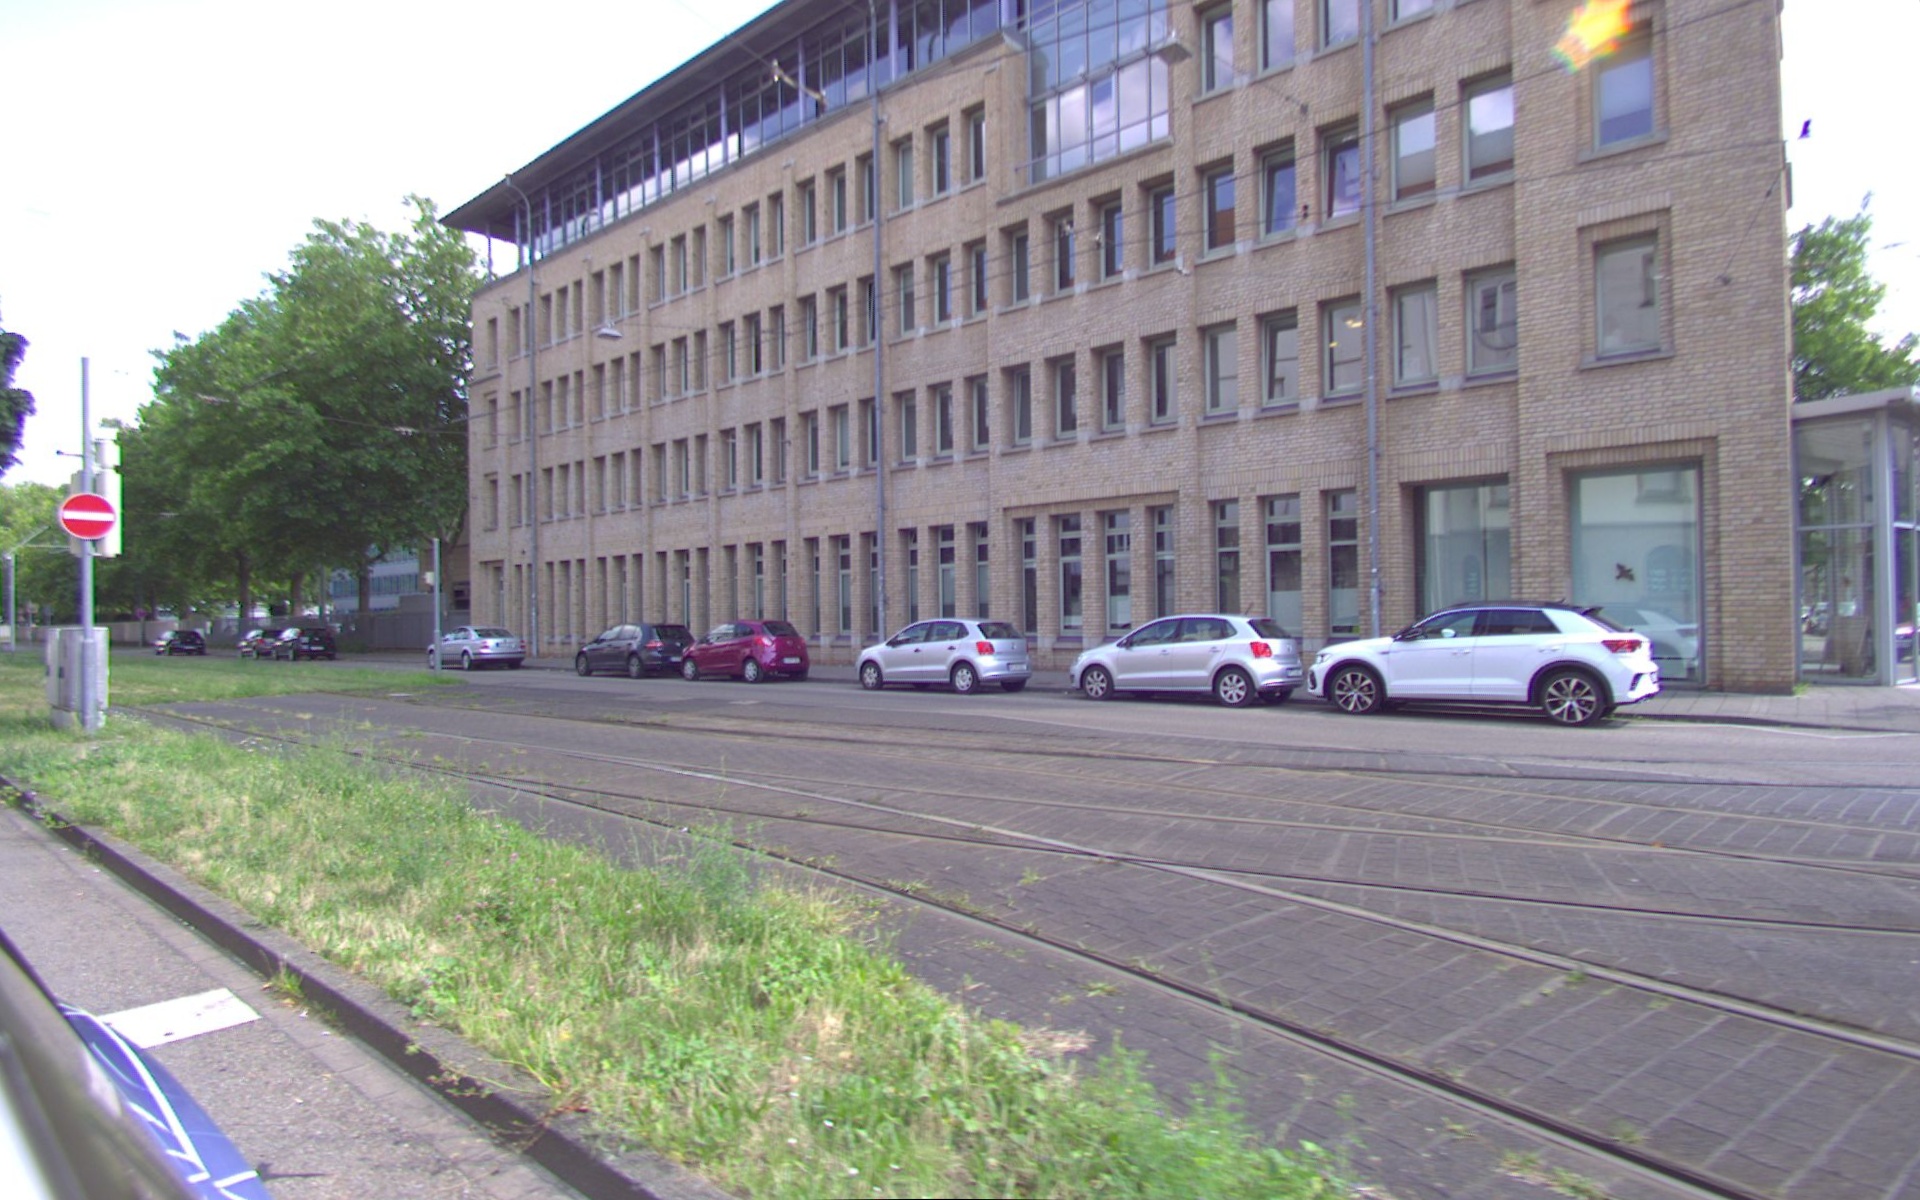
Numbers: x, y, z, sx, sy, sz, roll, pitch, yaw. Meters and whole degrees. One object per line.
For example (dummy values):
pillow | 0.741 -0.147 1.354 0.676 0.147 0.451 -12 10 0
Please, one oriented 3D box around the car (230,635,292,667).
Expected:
car | -33.662 2.432 48.701 3.899 1.437 1.538 -2 -2 41

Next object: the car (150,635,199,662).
car | -45.731 2.815 58.903 3.999 1.475 1.580 -2 -2 42

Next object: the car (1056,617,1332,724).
car | 3.773 1.083 16.686 4.013 1.542 1.912 -2 -2 42

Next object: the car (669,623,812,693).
car | -5.312 1.340 24.297 3.548 1.542 1.566 -2 -2 42

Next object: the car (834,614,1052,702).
car | -0.416 1.095 20.039 4.209 1.542 1.831 -2 -2 42

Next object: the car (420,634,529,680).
car | -16.149 1.856 33.572 4.483 1.407 1.697 -2 -2 42

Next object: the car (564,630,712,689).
car | -8.678 1.548 27.092 4.238 1.407 1.912 -2 -2 42

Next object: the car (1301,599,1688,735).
car | 7.046 0.818 13.607 4.256 1.546 1.912 -2 -2 42

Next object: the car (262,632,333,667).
car | -29.540 2.189 45.096 4.001 1.464 1.783 -2 -2 44
